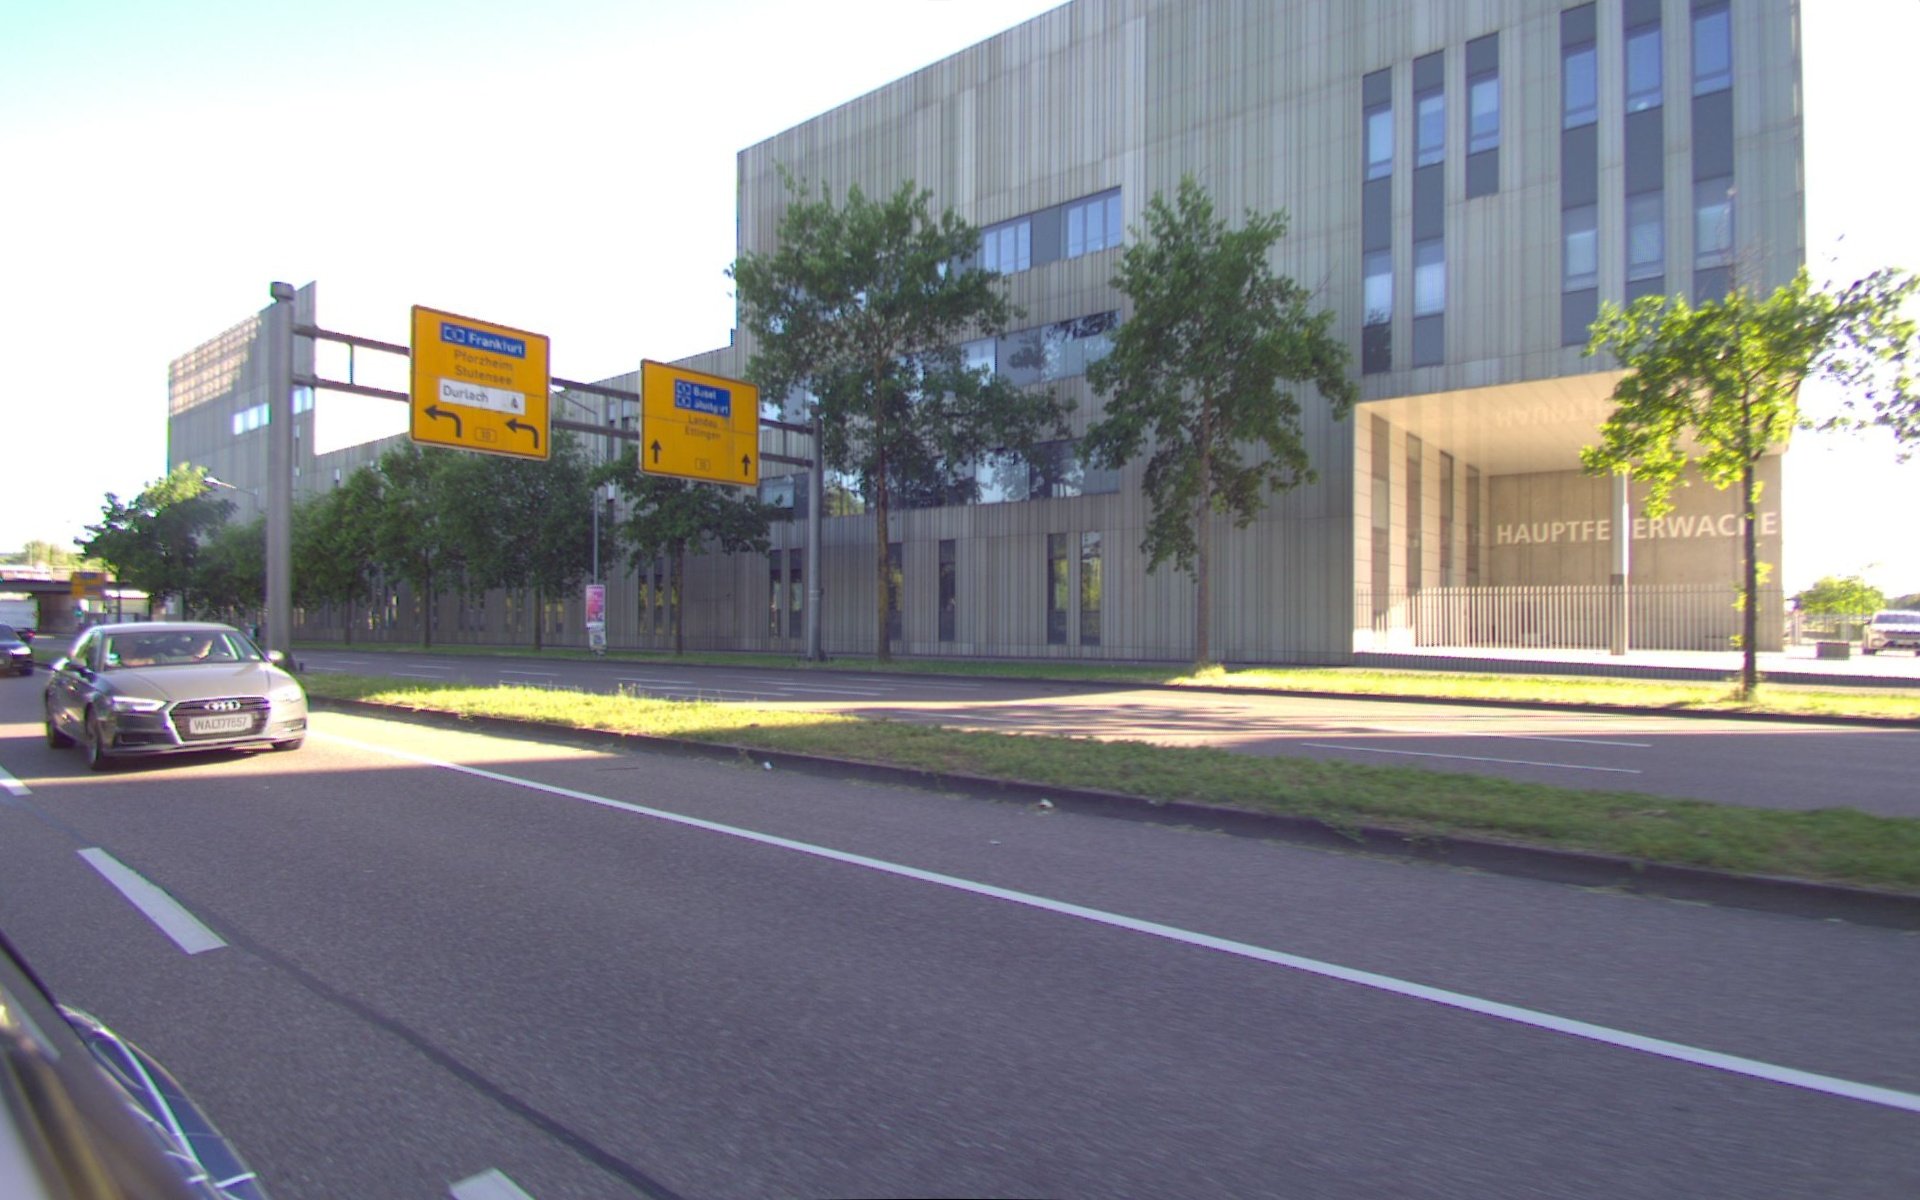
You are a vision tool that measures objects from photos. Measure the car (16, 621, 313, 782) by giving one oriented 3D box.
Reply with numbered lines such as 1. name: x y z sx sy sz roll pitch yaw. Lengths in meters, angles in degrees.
1. car: -8.824 0.954 11.084 4.361 1.415 1.681 -1 -1 40

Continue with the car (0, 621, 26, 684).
1. car: -25.672 1.355 26.160 3.942 1.549 1.681 -1 0 39

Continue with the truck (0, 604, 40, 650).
1. truck: -65.904 1.875 69.729 7.107 2.983 2.659 -1 -3 40

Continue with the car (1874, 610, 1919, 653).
1. car: 33.962 1.079 36.148 1.761 1.464 4.212 -1 -1 40
